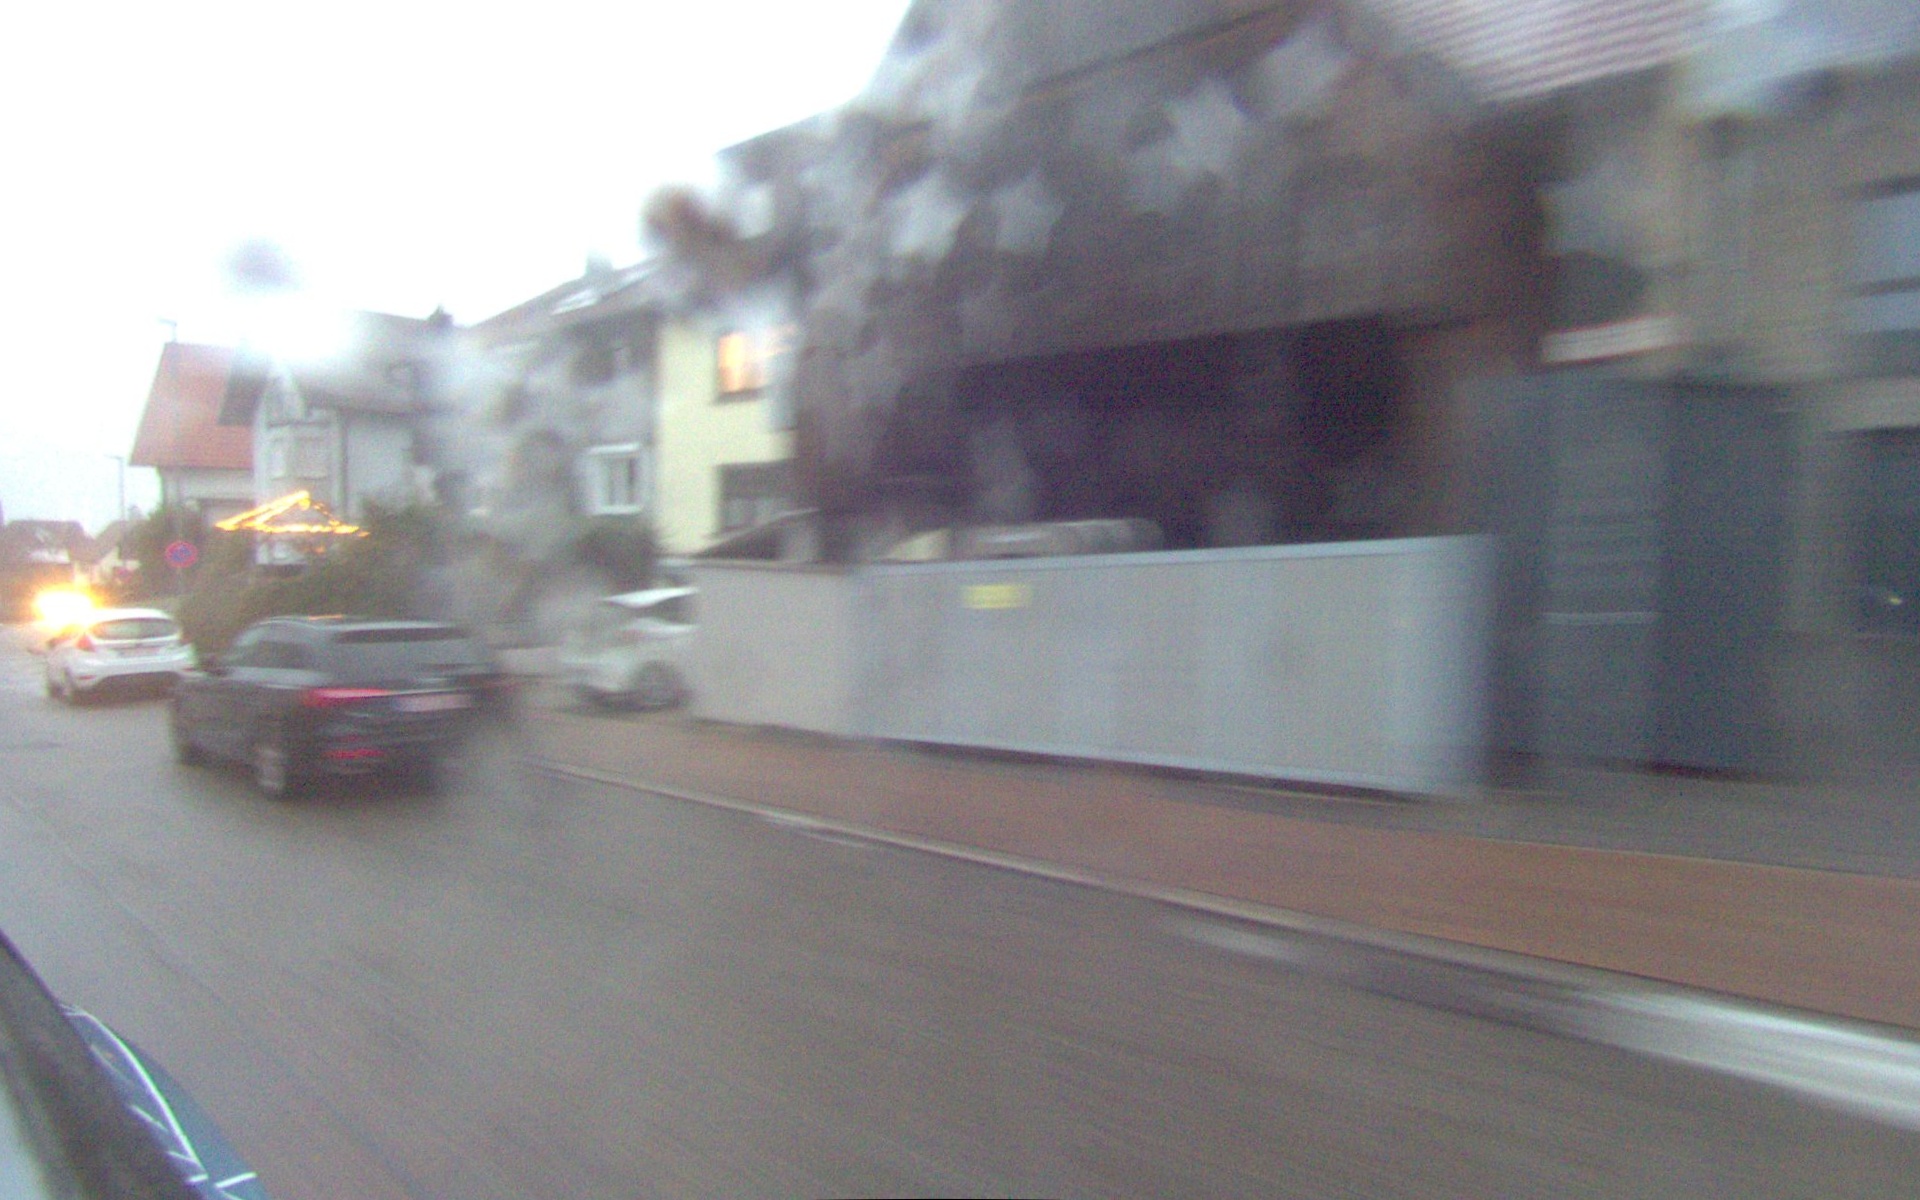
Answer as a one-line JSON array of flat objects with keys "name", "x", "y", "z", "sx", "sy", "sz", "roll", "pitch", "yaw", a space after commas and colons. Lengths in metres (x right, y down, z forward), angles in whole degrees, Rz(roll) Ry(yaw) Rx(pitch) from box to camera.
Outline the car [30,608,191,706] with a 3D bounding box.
[{"name": "car", "x": -14.510, "y": 0.878, "z": 17.229, "sx": 3.655, "sy": 1.449, "sz": 1.601, "roll": 0, "pitch": 0, "yaw": 42}]

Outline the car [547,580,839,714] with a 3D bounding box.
[{"name": "car", "x": -3.580, "y": 0.542, "z": 13.894, "sx": 1.774, "sy": 1.539, "sz": 3.425, "roll": 0, "pitch": 2, "yaw": 45}]

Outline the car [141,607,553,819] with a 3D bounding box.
[{"name": "car", "x": -5.860, "y": 0.791, "z": 9.344, "sx": 5.073, "sy": 1.405, "sz": 1.858, "roll": 0, "pitch": 0, "yaw": 42}]
